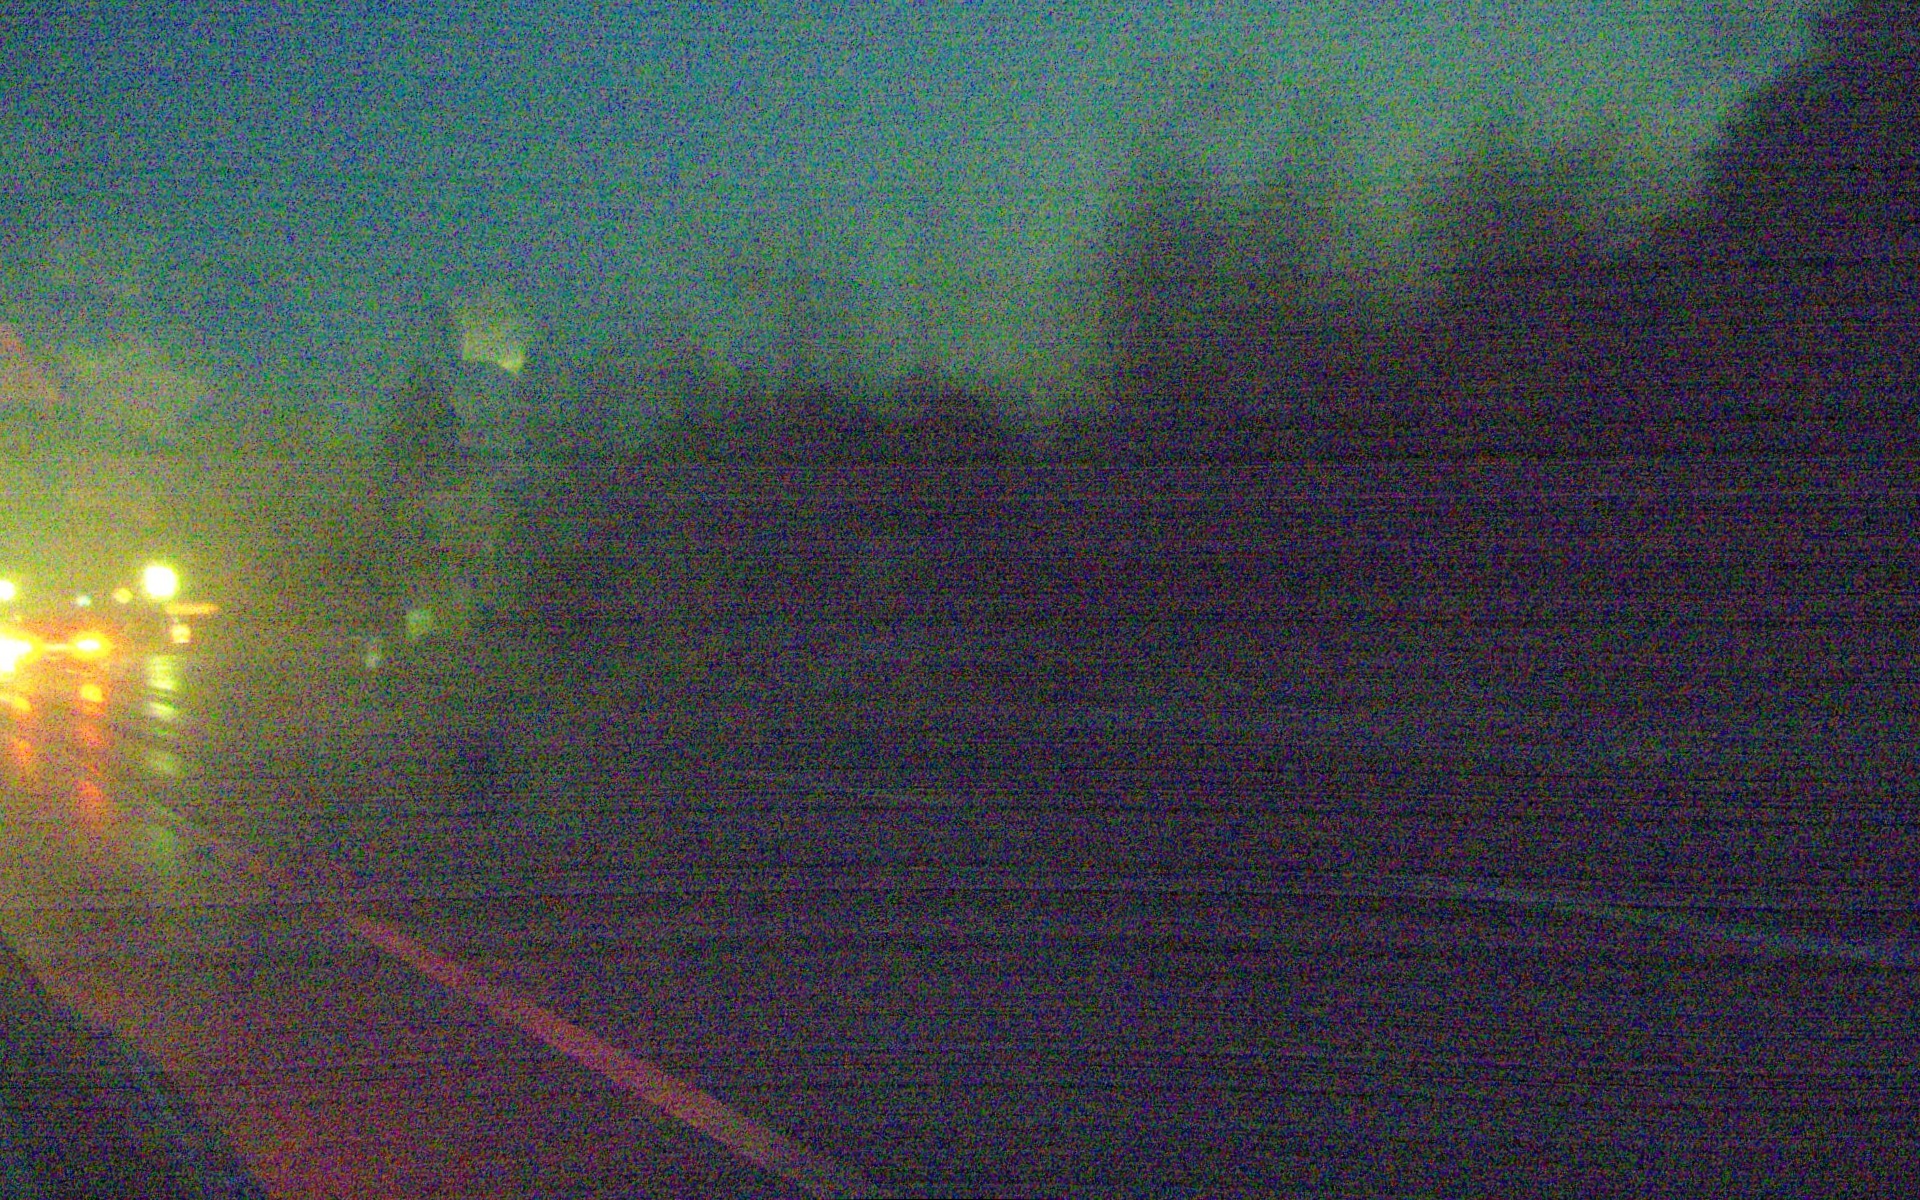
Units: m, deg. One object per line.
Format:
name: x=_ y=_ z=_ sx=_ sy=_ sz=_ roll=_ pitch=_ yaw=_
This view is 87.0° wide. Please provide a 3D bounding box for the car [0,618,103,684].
car: x=-24.764 y=1.313 z=27.186 sx=4.658 sy=1.588 sz=1.973 roll=-1 pitch=0 yaw=41
